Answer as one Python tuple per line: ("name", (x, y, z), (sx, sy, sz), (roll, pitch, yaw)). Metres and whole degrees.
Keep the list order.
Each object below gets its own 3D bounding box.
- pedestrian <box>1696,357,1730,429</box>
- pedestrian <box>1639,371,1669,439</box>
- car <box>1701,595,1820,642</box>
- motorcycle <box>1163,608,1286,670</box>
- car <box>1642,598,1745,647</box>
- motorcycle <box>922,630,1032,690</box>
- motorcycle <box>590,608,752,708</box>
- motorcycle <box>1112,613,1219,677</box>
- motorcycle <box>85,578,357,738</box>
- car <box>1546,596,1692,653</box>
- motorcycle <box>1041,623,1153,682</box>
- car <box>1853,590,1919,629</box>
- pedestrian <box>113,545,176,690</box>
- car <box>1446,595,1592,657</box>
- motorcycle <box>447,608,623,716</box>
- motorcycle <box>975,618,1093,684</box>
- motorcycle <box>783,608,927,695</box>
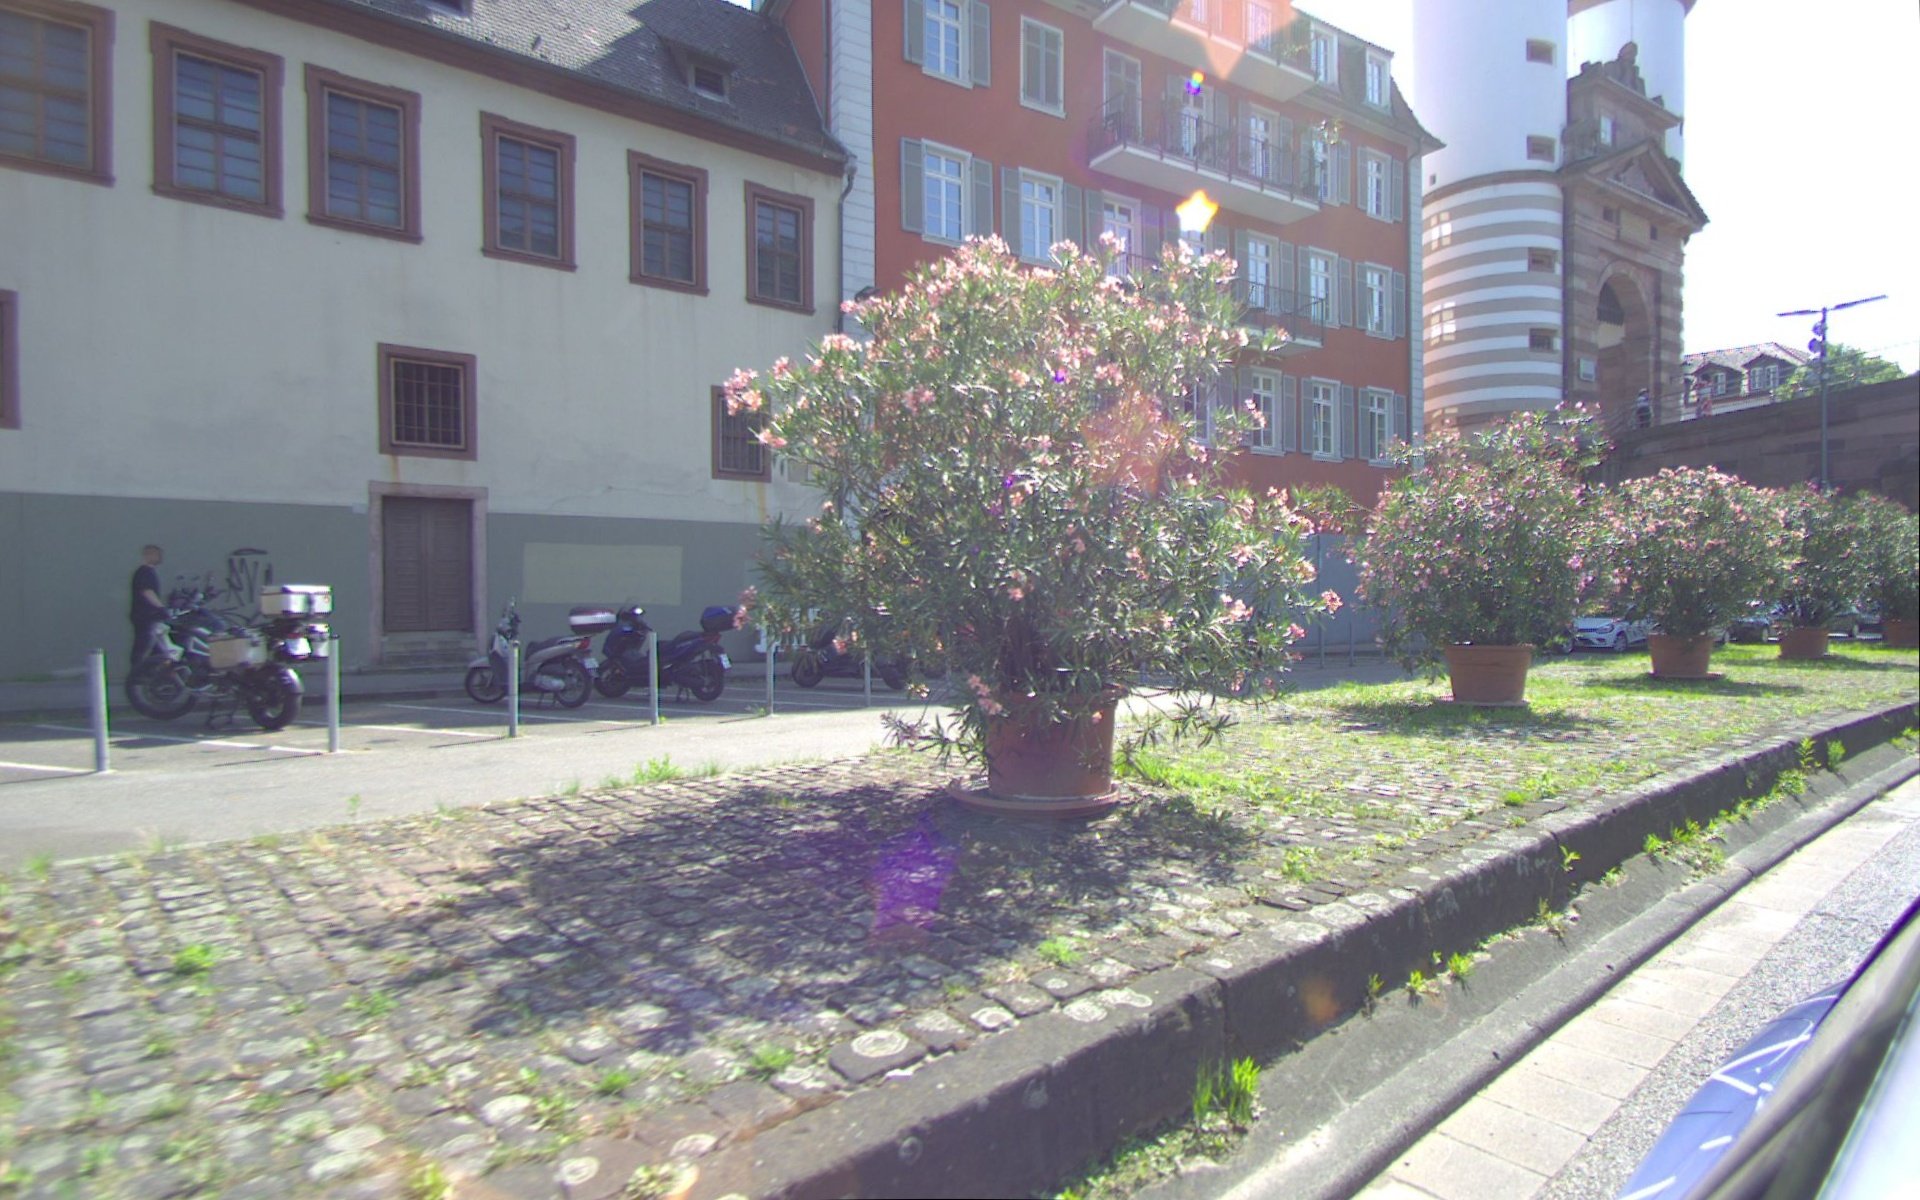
("pedestrian", (23.061, -6.322, 31.011), (0.693, 2.039, 0.641), (-1, 1, -33))
("pedestrian", (22.226, -6.239, 32.415), (0.693, 2.039, 0.581), (-1, 1, -33))
("car", (27.516, 0.593, 34.738), (4.404, 1.455, 1.783), (-1, 1, -31))
("motorcycle", (5.655, 0.821, 21.780), (2.505, 1.249, 0.839), (0, -1, 14))
("car", (23.195, 0.675, 31.976), (3.501, 1.437, 1.559), (-1, 1, -35))
("motorcycle", (0.303, 1.053, 18.014), (1.901, 0.999, 0.546), (0, 0, 11))
("motorcycle", (-3.950, 0.758, 13.804), (2.169, 1.283, 0.624), (0, 0, 19))
("motorcycle", (4.236, 0.906, 20.895), (2.121, 1.249, 0.839), (0, -1, 14))
("motorcycle", (-7.752, 0.548, 10.645), (2.463, 1.552, 1.048), (0, 0, 17))
("car", (19.381, 0.655, 29.728), (4.329, 1.511, 1.901), (-1, 1, -31))
("motorcycle", (2.696, 1.016, 19.904), (2.163, 1.090, 0.626), (0, 0, 11))
("car", (37.367, 0.344, 39.938), (3.802, 1.429, 1.727), (-1, 2, -23))
("pedestrian", (-10.647, 0.214, 13.224), (0.608, 1.845, 0.495), (-1, 1, -39))
("car", (15.269, 0.672, 27.623), (3.733, 1.562, 1.679), (0, -1, -27))
("motorcycle", (-5.391, 0.748, 12.825), (2.207, 1.268, 0.624), (0, 0, 19))
("motorcycle", (1.403, 0.940, 19.040), (2.163, 1.162, 0.626), (0, 0, 11))
("motorcycle", (-1.663, 0.779, 16.015), (2.155, 1.283, 0.778), (0, 0, 19))
